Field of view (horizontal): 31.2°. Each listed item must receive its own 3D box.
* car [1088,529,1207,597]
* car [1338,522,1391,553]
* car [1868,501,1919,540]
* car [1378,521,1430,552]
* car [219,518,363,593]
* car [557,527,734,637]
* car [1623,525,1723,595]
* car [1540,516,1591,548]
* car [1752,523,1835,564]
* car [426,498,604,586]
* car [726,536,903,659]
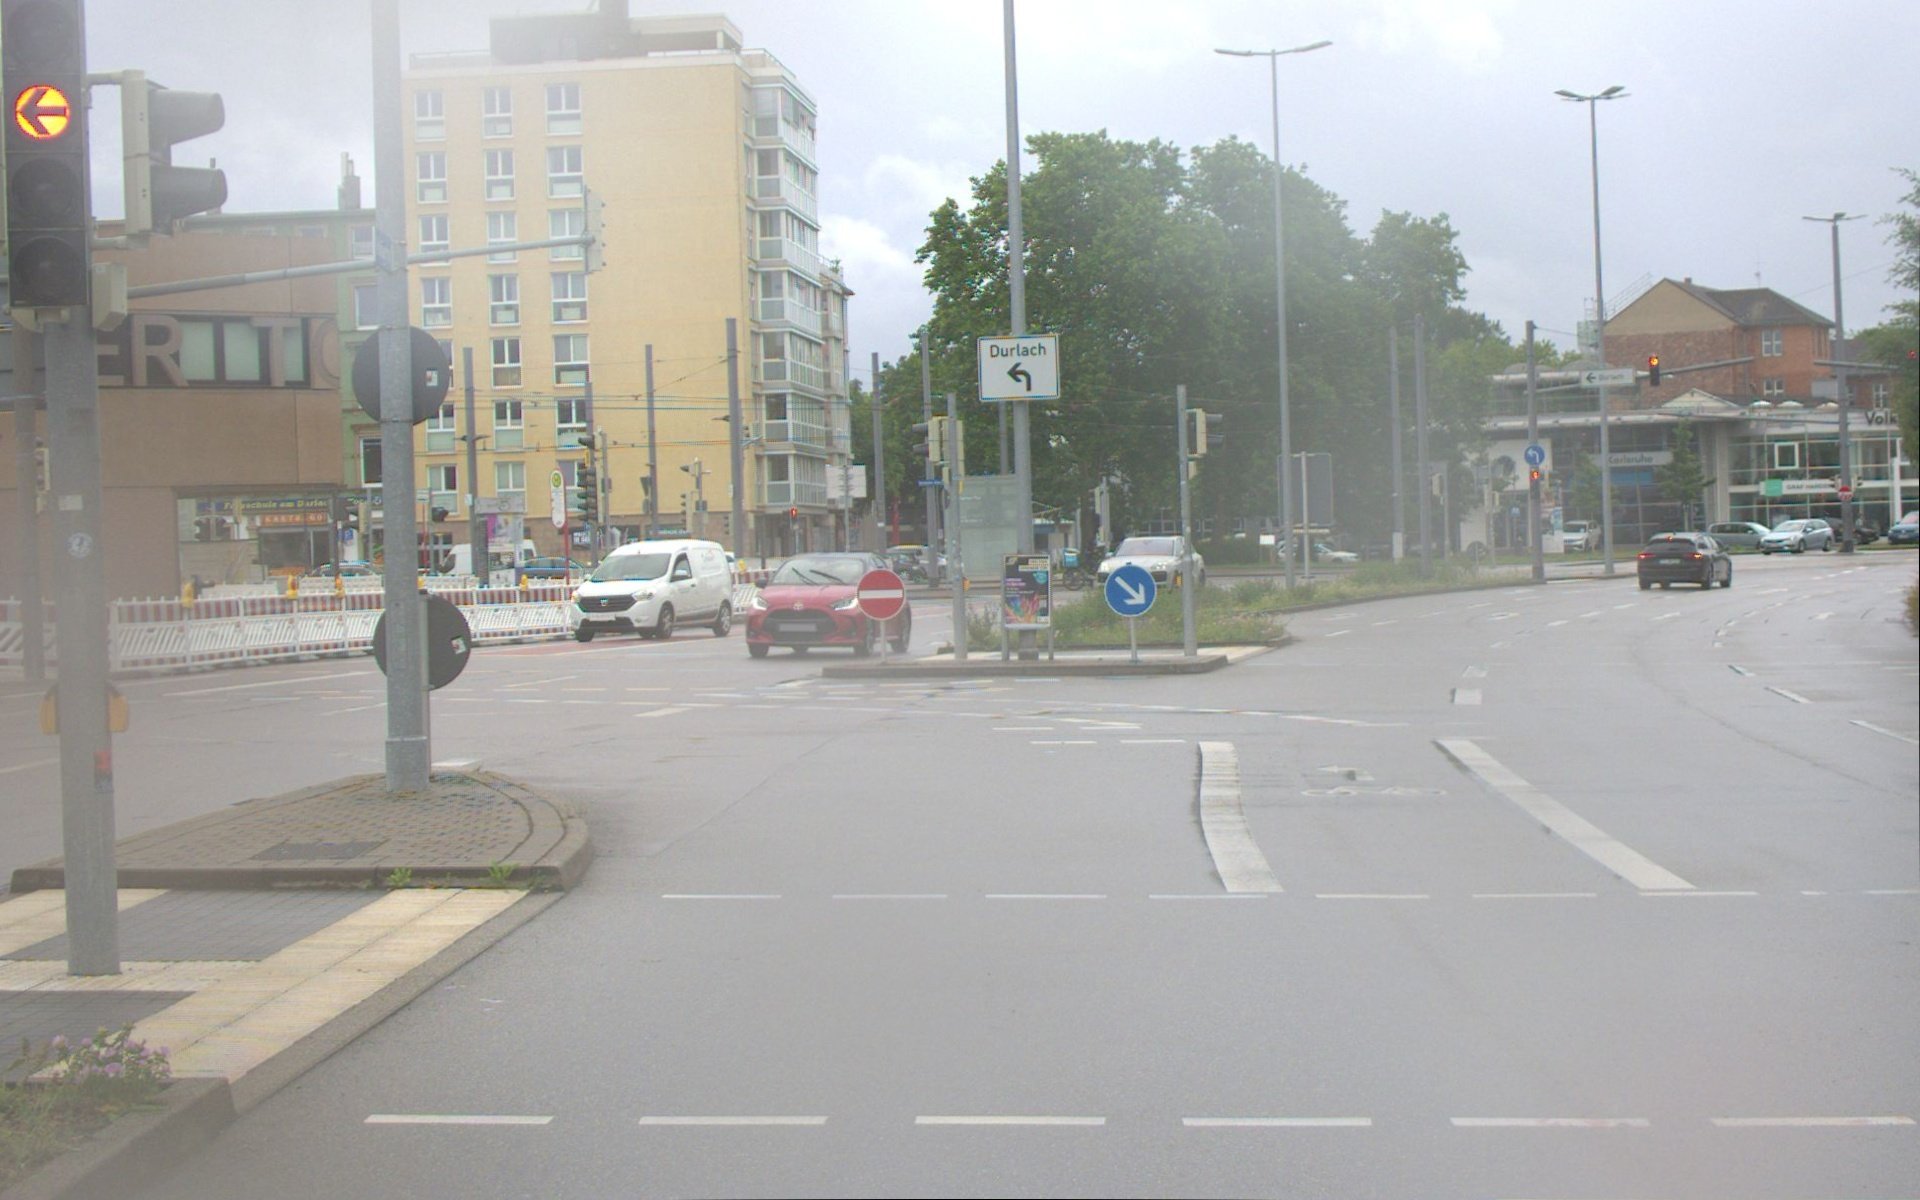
[{"bbox_3d":[4.791,-0.957,87.420,1.792,1.637,4.155,-1,1,21],"label":"car"},{"bbox_3d":[22.472,-3.456,190.790,1.792,1.637,4.154,-1,1,23],"label":"car"},{"bbox_3d":[42.130,-3.536,152.365,1.794,1.637,4.149,0,2,44],"label":"car"},{"bbox_3d":[24.548,-3.498,189.963,1.792,1.637,4.154,-1,1,23],"label":"car"},{"bbox_3d":[-27.645,-1.853,142.082,5.351,2.877,2.339,-2,1,2],"label":"car"},{"bbox_3d":[-5.611,-0.360,61.861,1.791,1.852,4.156,-1,1,15],"label":"car"},{"bbox_3d":[18.031,-1.024,86.812,1.792,1.637,4.155,-1,1,21],"label":"car"},{"bbox_3d":[32.868,-3.687,186.485,1.792,1.637,4.154,-1,1,23],"label":"car"},{"bbox_3d":[36.065,-2.454,148.688,1.794,1.637,4.150,-1,1,40],"label":"car"},{"bbox_3d":[-18.275,-2.413,141.442,6.742,3.368,2.809,-2,1,2],"label":"car"},{"bbox_3d":[-2.047,-0.075,49.520,1.790,1.637,4.045,-1,1,8],"label":"car"}]
